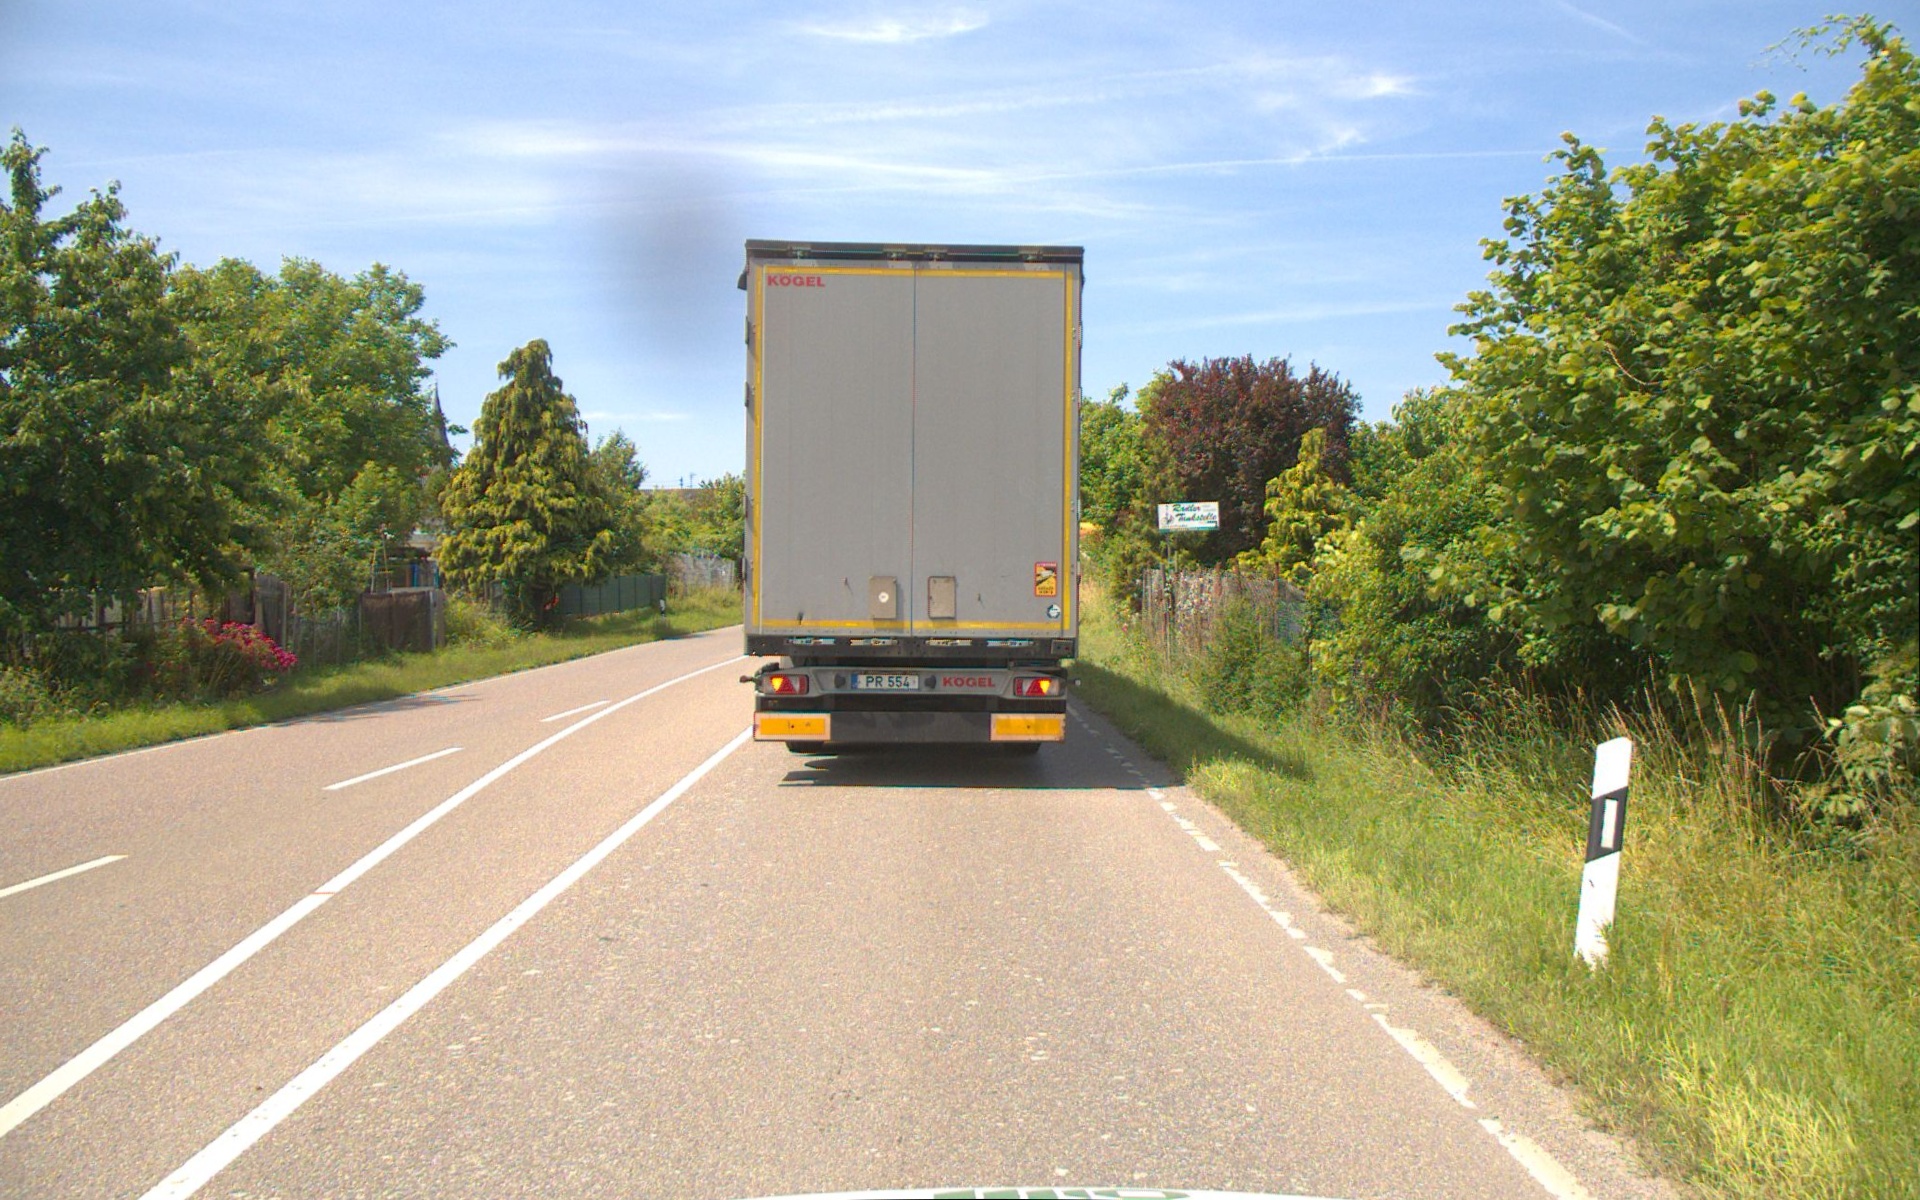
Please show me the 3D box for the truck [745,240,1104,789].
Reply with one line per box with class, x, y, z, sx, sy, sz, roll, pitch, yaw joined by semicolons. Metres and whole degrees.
truck;-0.426;-0.671;16.497;2.594;3.985;8.821;0;1;-2
